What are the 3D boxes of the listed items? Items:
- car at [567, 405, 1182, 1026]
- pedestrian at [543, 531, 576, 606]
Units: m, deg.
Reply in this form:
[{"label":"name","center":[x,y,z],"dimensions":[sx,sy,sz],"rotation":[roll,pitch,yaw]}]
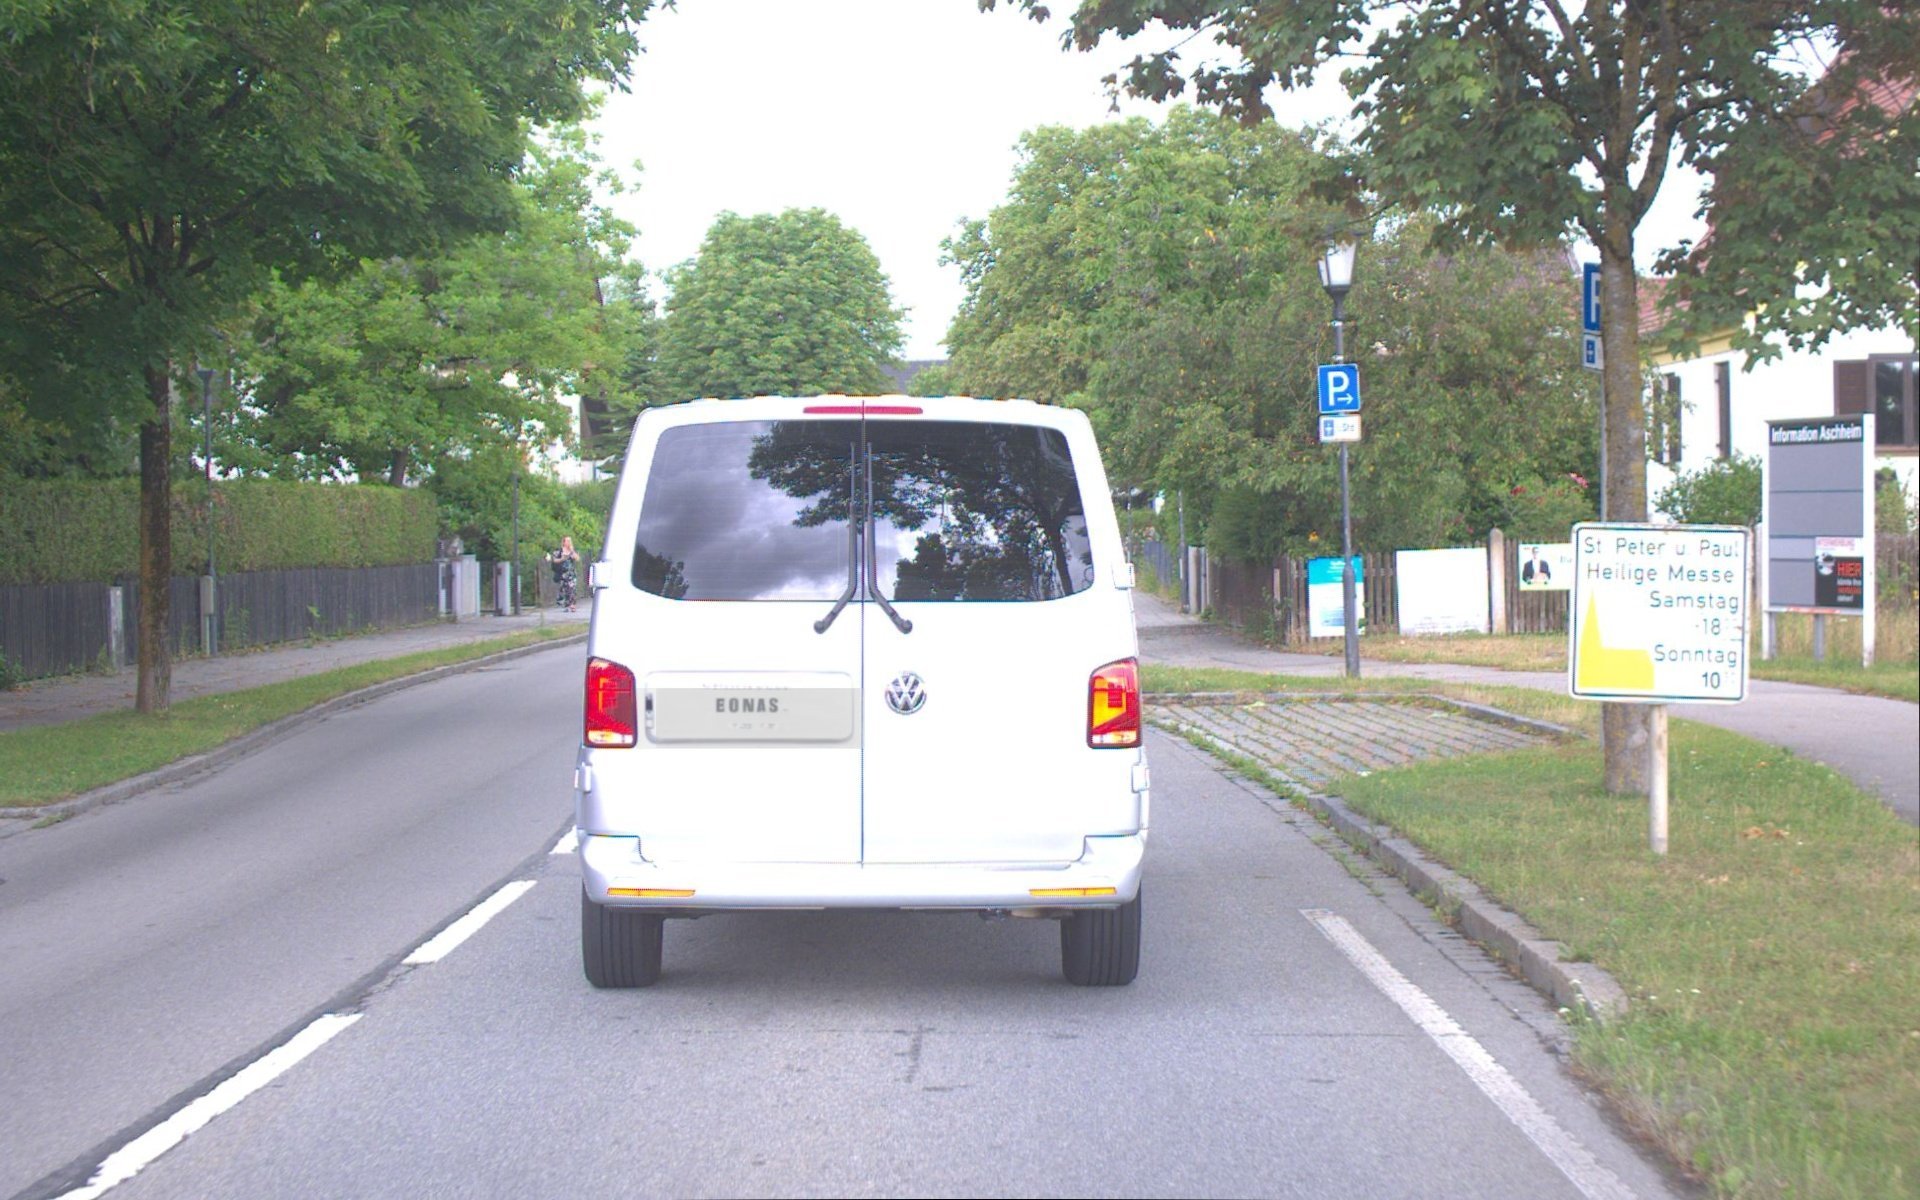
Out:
[{"label":"car","center":[-0.257,0.322,12.548],"dimensions":[1.888,1.905,4.000],"rotation":[0,1,0]},{"label":"pedestrian","center":[-8.312,-0.665,71.396],"dimensions":[0.622,1.544,0.522],"rotation":[1,1,-3]}]
